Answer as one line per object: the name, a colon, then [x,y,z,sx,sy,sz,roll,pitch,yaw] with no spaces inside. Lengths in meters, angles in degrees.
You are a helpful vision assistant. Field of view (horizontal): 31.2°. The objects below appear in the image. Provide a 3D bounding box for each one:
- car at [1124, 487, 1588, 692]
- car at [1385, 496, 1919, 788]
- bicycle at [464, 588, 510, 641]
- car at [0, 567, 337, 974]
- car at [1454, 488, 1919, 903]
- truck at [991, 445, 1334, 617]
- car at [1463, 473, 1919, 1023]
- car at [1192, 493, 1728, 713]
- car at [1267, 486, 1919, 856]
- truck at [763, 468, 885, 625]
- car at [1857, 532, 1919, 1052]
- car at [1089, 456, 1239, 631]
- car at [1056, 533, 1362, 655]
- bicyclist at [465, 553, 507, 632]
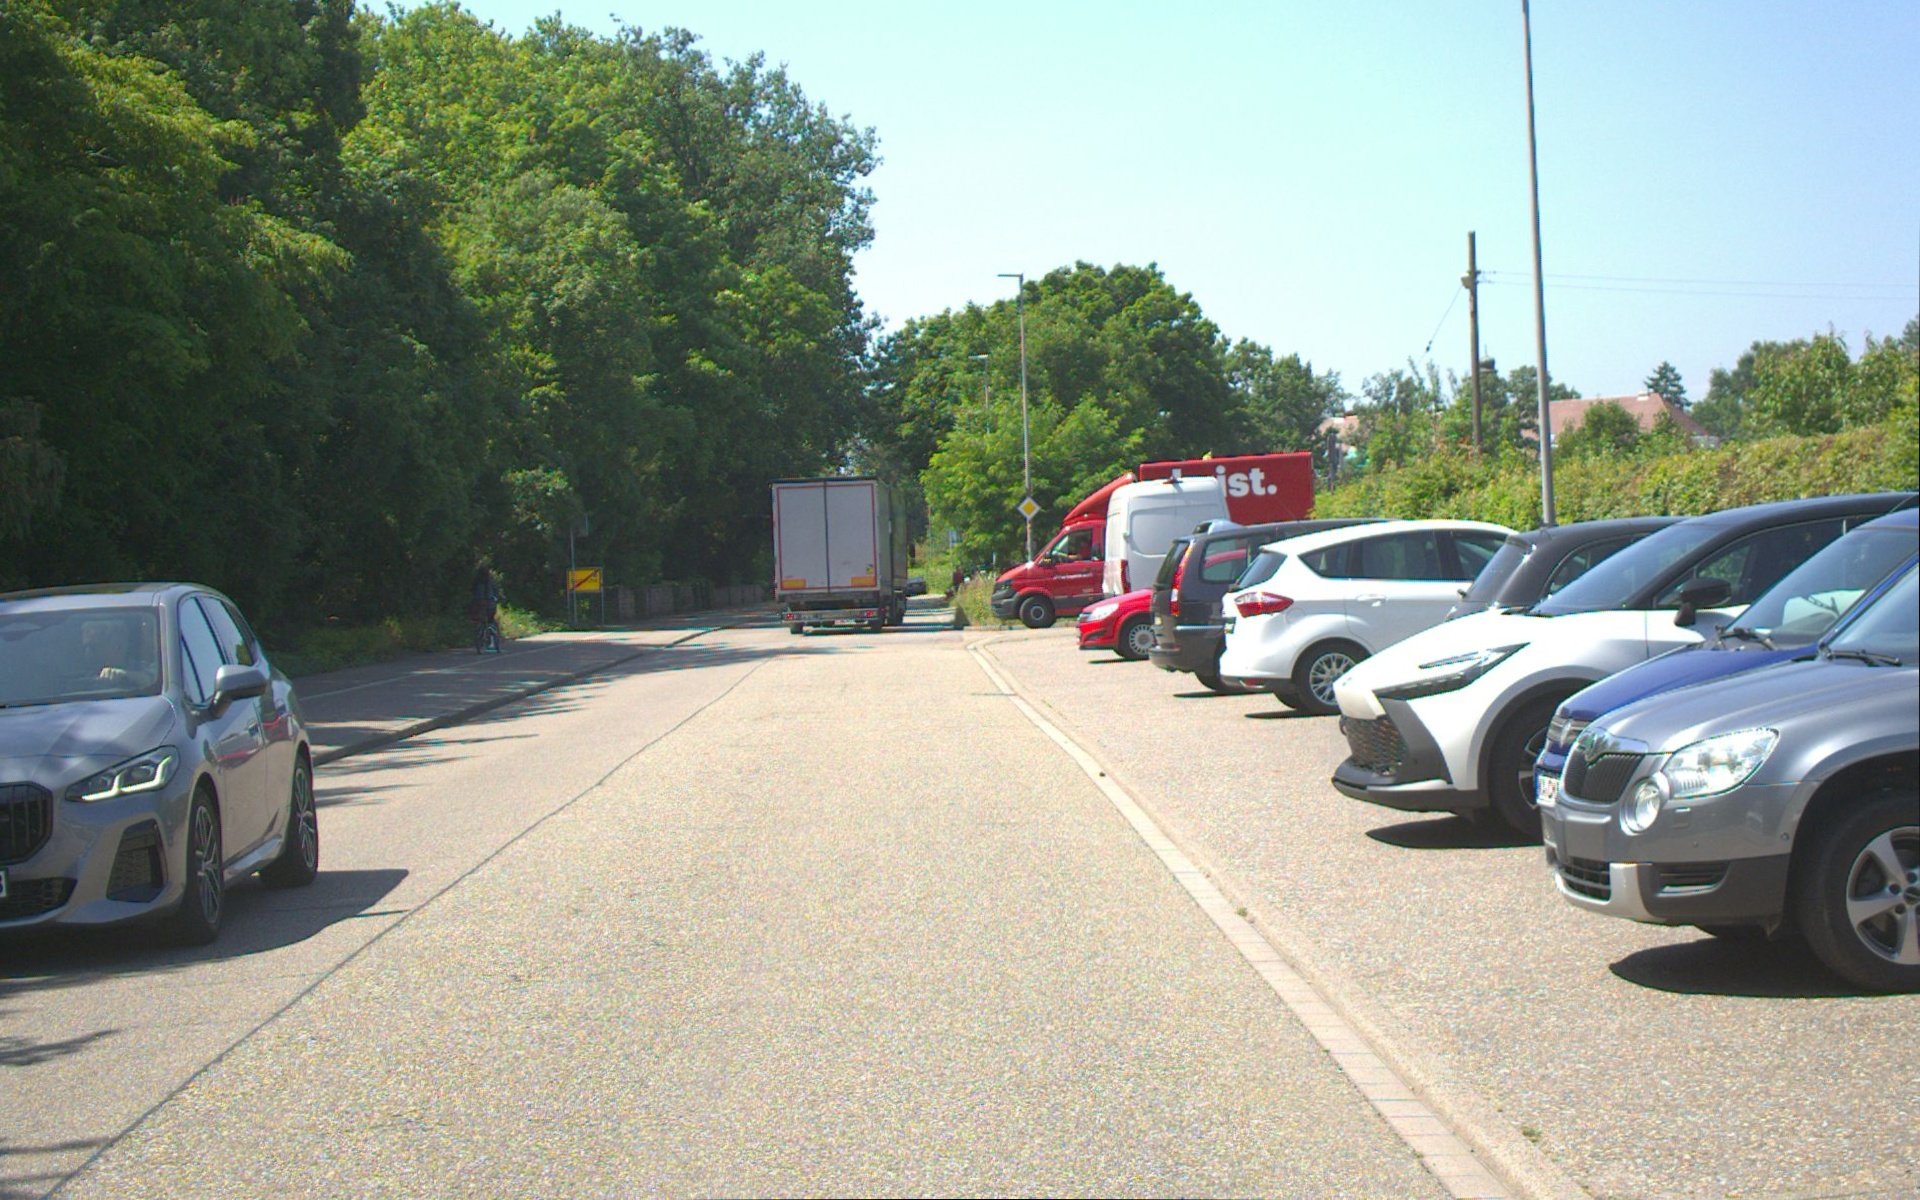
car: [4.137,-0.110,36.325,4.452,1.798,1.953,-4,0,-5]
car: [4.364,0.217,20.636,3.388,1.498,1.588,-3,1,2]
bicycle: [-9.490,0.291,69.067,0.561,1.023,1.839,-2,0,3]
car: [-4.113,0.702,15.517,1.891,1.527,4.197,-5,1,-3]
car: [4.065,0.298,14.764,3.452,1.522,1.540,-5,1,-6]
truck: [4.385,-1.476,73.785,7.139,3.428,2.329,-1,1,7]
car: [3.945,0.331,11.832,3.959,1.635,1.664,-5,1,-7]
car: [4.317,0.009,30.090,4.275,1.572,1.766,-4,1,-3]
car: [3.774,0.289,17.627,3.962,1.517,1.865,-5,1,-7]
truck: [-3.392,-1.330,88.831,2.733,3.733,13.246,-1,0,-1]
car: [4.439,0.394,8.978,3.690,1.446,1.610,-5,1,2]
car: [3.470,-0.972,59.713,1.954,2.724,7.167,-4,1,0]
car: [3.531,-0.093,49.153,4.053,1.429,1.836,-4,1,-4]
bicyclist: [-9.510,-0.151,69.037,0.648,1.560,0.837,-2,0,3]
